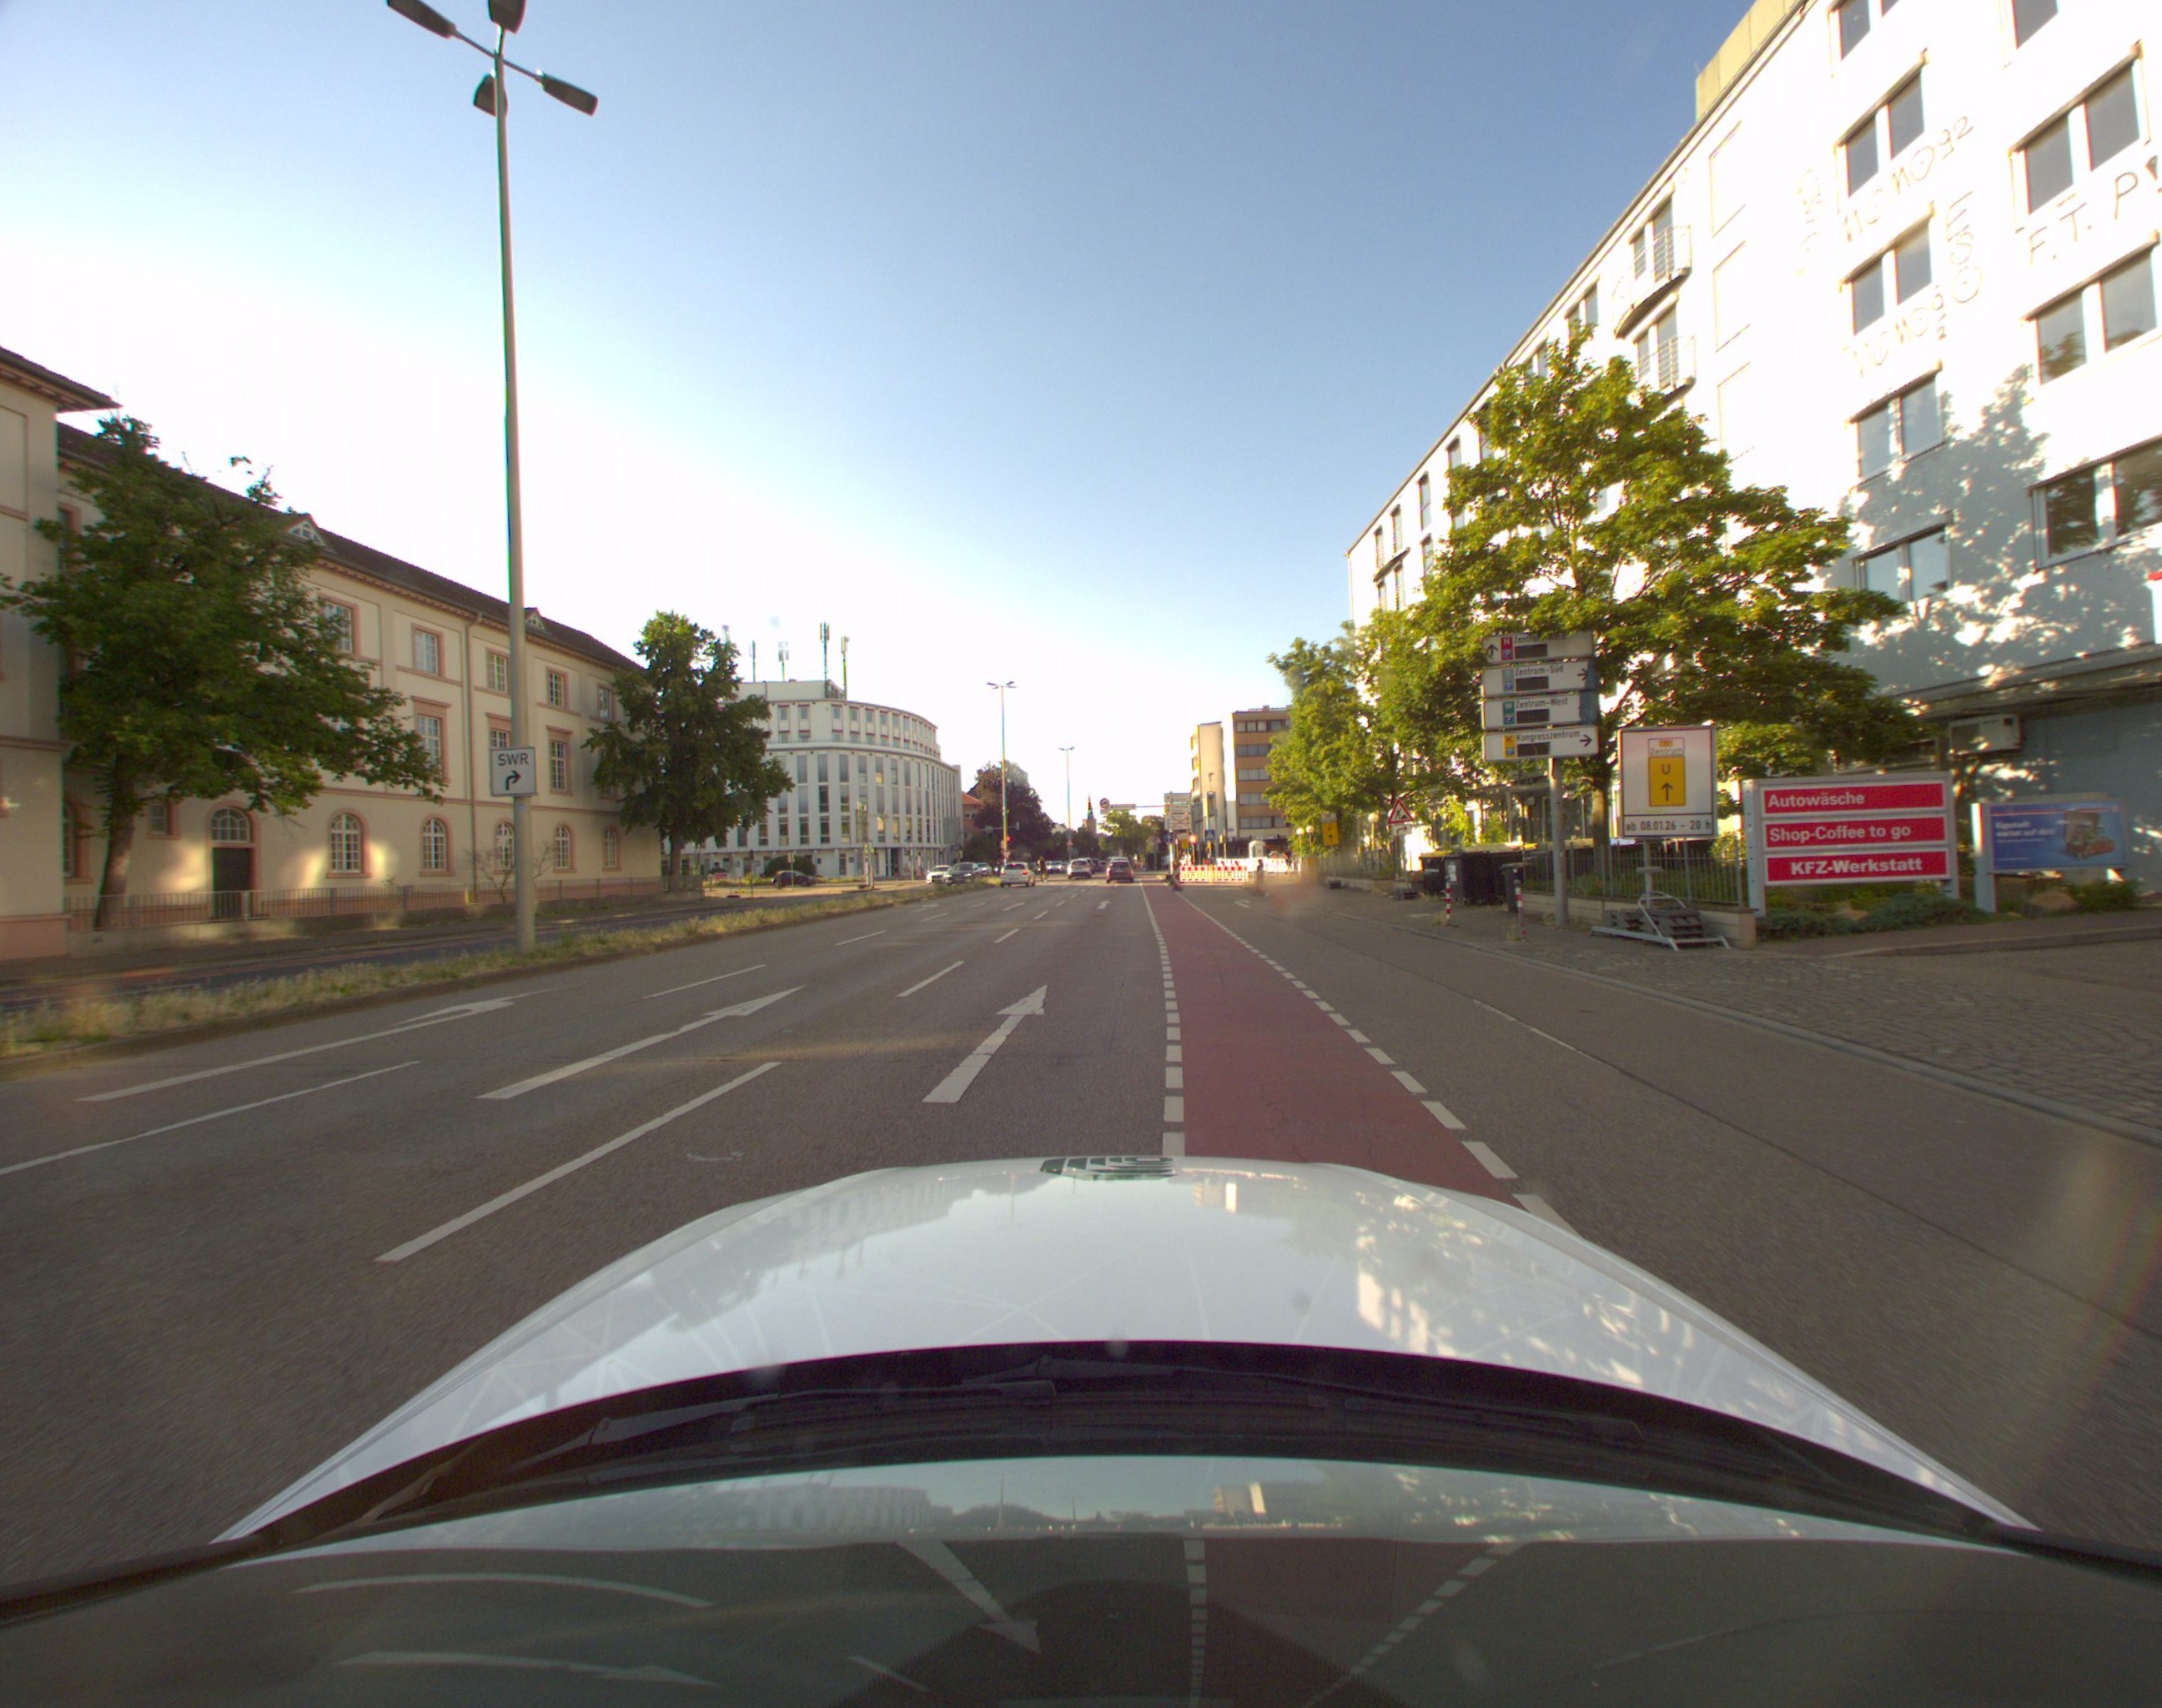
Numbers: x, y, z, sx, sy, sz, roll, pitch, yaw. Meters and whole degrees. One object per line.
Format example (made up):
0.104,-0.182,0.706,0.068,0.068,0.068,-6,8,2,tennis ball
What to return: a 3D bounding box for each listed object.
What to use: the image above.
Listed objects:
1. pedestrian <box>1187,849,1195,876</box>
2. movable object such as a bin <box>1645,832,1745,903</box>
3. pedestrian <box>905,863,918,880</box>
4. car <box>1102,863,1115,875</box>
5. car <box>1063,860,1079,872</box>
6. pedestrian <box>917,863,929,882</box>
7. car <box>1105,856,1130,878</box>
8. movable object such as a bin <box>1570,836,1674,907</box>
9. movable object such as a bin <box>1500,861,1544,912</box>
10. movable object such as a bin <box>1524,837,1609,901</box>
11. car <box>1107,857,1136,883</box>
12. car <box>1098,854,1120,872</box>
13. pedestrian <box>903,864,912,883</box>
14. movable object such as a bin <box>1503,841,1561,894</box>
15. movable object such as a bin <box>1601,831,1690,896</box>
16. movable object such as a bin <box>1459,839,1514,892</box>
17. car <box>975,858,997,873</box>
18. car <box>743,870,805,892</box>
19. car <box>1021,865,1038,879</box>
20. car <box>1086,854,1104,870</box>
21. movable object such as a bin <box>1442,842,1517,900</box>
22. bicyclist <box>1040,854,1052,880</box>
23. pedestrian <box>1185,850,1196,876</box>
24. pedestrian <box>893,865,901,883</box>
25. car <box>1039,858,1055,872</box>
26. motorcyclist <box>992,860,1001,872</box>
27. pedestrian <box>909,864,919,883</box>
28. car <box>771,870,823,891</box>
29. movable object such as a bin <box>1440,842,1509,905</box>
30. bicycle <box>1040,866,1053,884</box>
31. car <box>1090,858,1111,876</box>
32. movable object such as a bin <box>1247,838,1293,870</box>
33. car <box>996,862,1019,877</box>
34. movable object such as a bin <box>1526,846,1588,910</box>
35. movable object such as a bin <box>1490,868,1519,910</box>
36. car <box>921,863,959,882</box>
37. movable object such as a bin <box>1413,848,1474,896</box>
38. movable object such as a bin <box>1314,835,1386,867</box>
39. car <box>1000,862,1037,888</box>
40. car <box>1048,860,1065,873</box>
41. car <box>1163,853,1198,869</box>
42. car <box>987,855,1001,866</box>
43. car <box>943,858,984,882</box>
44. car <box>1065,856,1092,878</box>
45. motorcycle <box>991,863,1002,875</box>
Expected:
7.873,0.617,58.346,0.518,1.868,0.616,-2,-1,8,pedestrian
13.080,0.292,17.383,1.400,1.410,0.865,-3,-1,2,movable object such as a bin
-20.350,2.109,97.701,1.084,2.014,1.039,-2,-1,14,pedestrian
4.169,2.286,122.844,1.657,1.657,4.004,-2,-1,4,car
-1.297,1.514,105.347,1.841,1.461,4.050,-2,0,1,car
-15.929,1.879,81.982,0.621,1.868,1.133,-3,-1,24,pedestrian
2.893,1.000,64.704,1.812,1.640,4.002,-2,-1,2,car
11.562,0.367,17.445,1.601,1.410,0.865,-2,-1,2,movable object such as a bin
9.439,0.691,17.446,0.616,1.046,0.617,-2,-1,5,movable object such as a bin
11.729,0.343,19.724,1.301,1.433,1.282,-4,0,8,movable object such as a bin
2.627,0.998,52.701,1.740,1.564,4.054,-2,0,4,car
2.774,0.884,79.761,1.986,1.508,4.001,-4,-3,2,car
-17.640,1.977,82.749,0.758,1.842,0.816,-2,-1,-7,pedestrian
13.255,0.379,23.965,1.121,1.485,0.957,-2,-1,3,movable object such as a bin
13.279,0.214,19.195,1.189,1.421,1.281,-4,0,5,movable object such as a bin
12.061,0.340,24.261,1.099,1.485,0.957,-2,-1,2,movable object such as a bin
-9.987,1.219,85.880,1.678,1.499,4.516,-2,0,2,car
-25.819,2.257,68.575,4.321,1.629,2.004,-2,-1,7,car
-6.141,2.129,97.855,1.652,1.494,4.002,-2,0,2,car
1.594,0.871,90.416,1.657,1.657,4.004,-2,-1,4,car
10.781,0.446,22.086,1.325,1.485,1.208,-2,-1,-7,movable object such as a bin
-2.355,0.865,54.693,0.688,1.728,0.988,-2,-1,0,bicyclist
7.745,0.651,57.491,0.737,1.799,0.717,-2,-1,8,pedestrian
-18.696,2.025,82.609,0.660,1.859,0.776,-2,-1,-9,pedestrian
-4.742,1.532,114.257,1.909,1.811,4.717,-2,0,1,car
-9.688,1.389,93.642,0.767,1.419,1.238,-2,-1,1,motorcyclist
-16.844,1.940,81.999,0.656,1.868,0.780,-2,-1,9,pedestrian
-24.719,2.340,71.055,3.796,1.530,1.862,-4,-3,0,car
9.848,0.509,20.444,1.088,1.508,1.255,-2,-3,3,movable object such as a bin
-2.320,1.396,54.796,0.697,1.100,2.258,-2,-1,1,bicycle
1.812,1.145,75.121,1.740,1.564,4.054,-2,0,4,car
15.045,0.000,64.898,3.315,2.383,1.530,-2,-1,2,movable object such as a bin
-7.170,1.479,79.886,1.678,1.392,4.184,-2,0,3,car
10.167,0.497,17.419,0.774,1.309,0.865,-2,-1,2,movable object such as a bin
9.480,0.770,18.236,0.391,0.907,0.491,-2,-1,6,movable object such as a bin
-11.392,1.466,66.049,1.984,1.413,4.448,-3,-1,4,car
10.652,0.518,23.939,1.214,1.344,1.051,-2,-1,-12,movable object such as a bin
23.375,-0.247,70.966,5.331,2.490,2.548,-2,-1,0,movable object such as a bin
-3.765,1.243,49.766,1.677,1.457,4.004,-2,0,4,car
-2.953,1.562,99.850,1.841,1.461,4.050,-2,0,1,car
13.117,0.918,107.152,4.347,1.877,2.001,-2,-1,1,car
-13.395,0.973,125.872,1.837,1.572,3.994,-2,-1,-4,car
-8.321,1.101,58.009,1.985,1.578,4.902,-2,-1,3,car
-0.152,1.009,63.388,1.740,1.564,4.054,-2,0,4,car
-9.684,1.706,93.504,0.767,1.284,2.843,-2,-1,1,motorcycle
